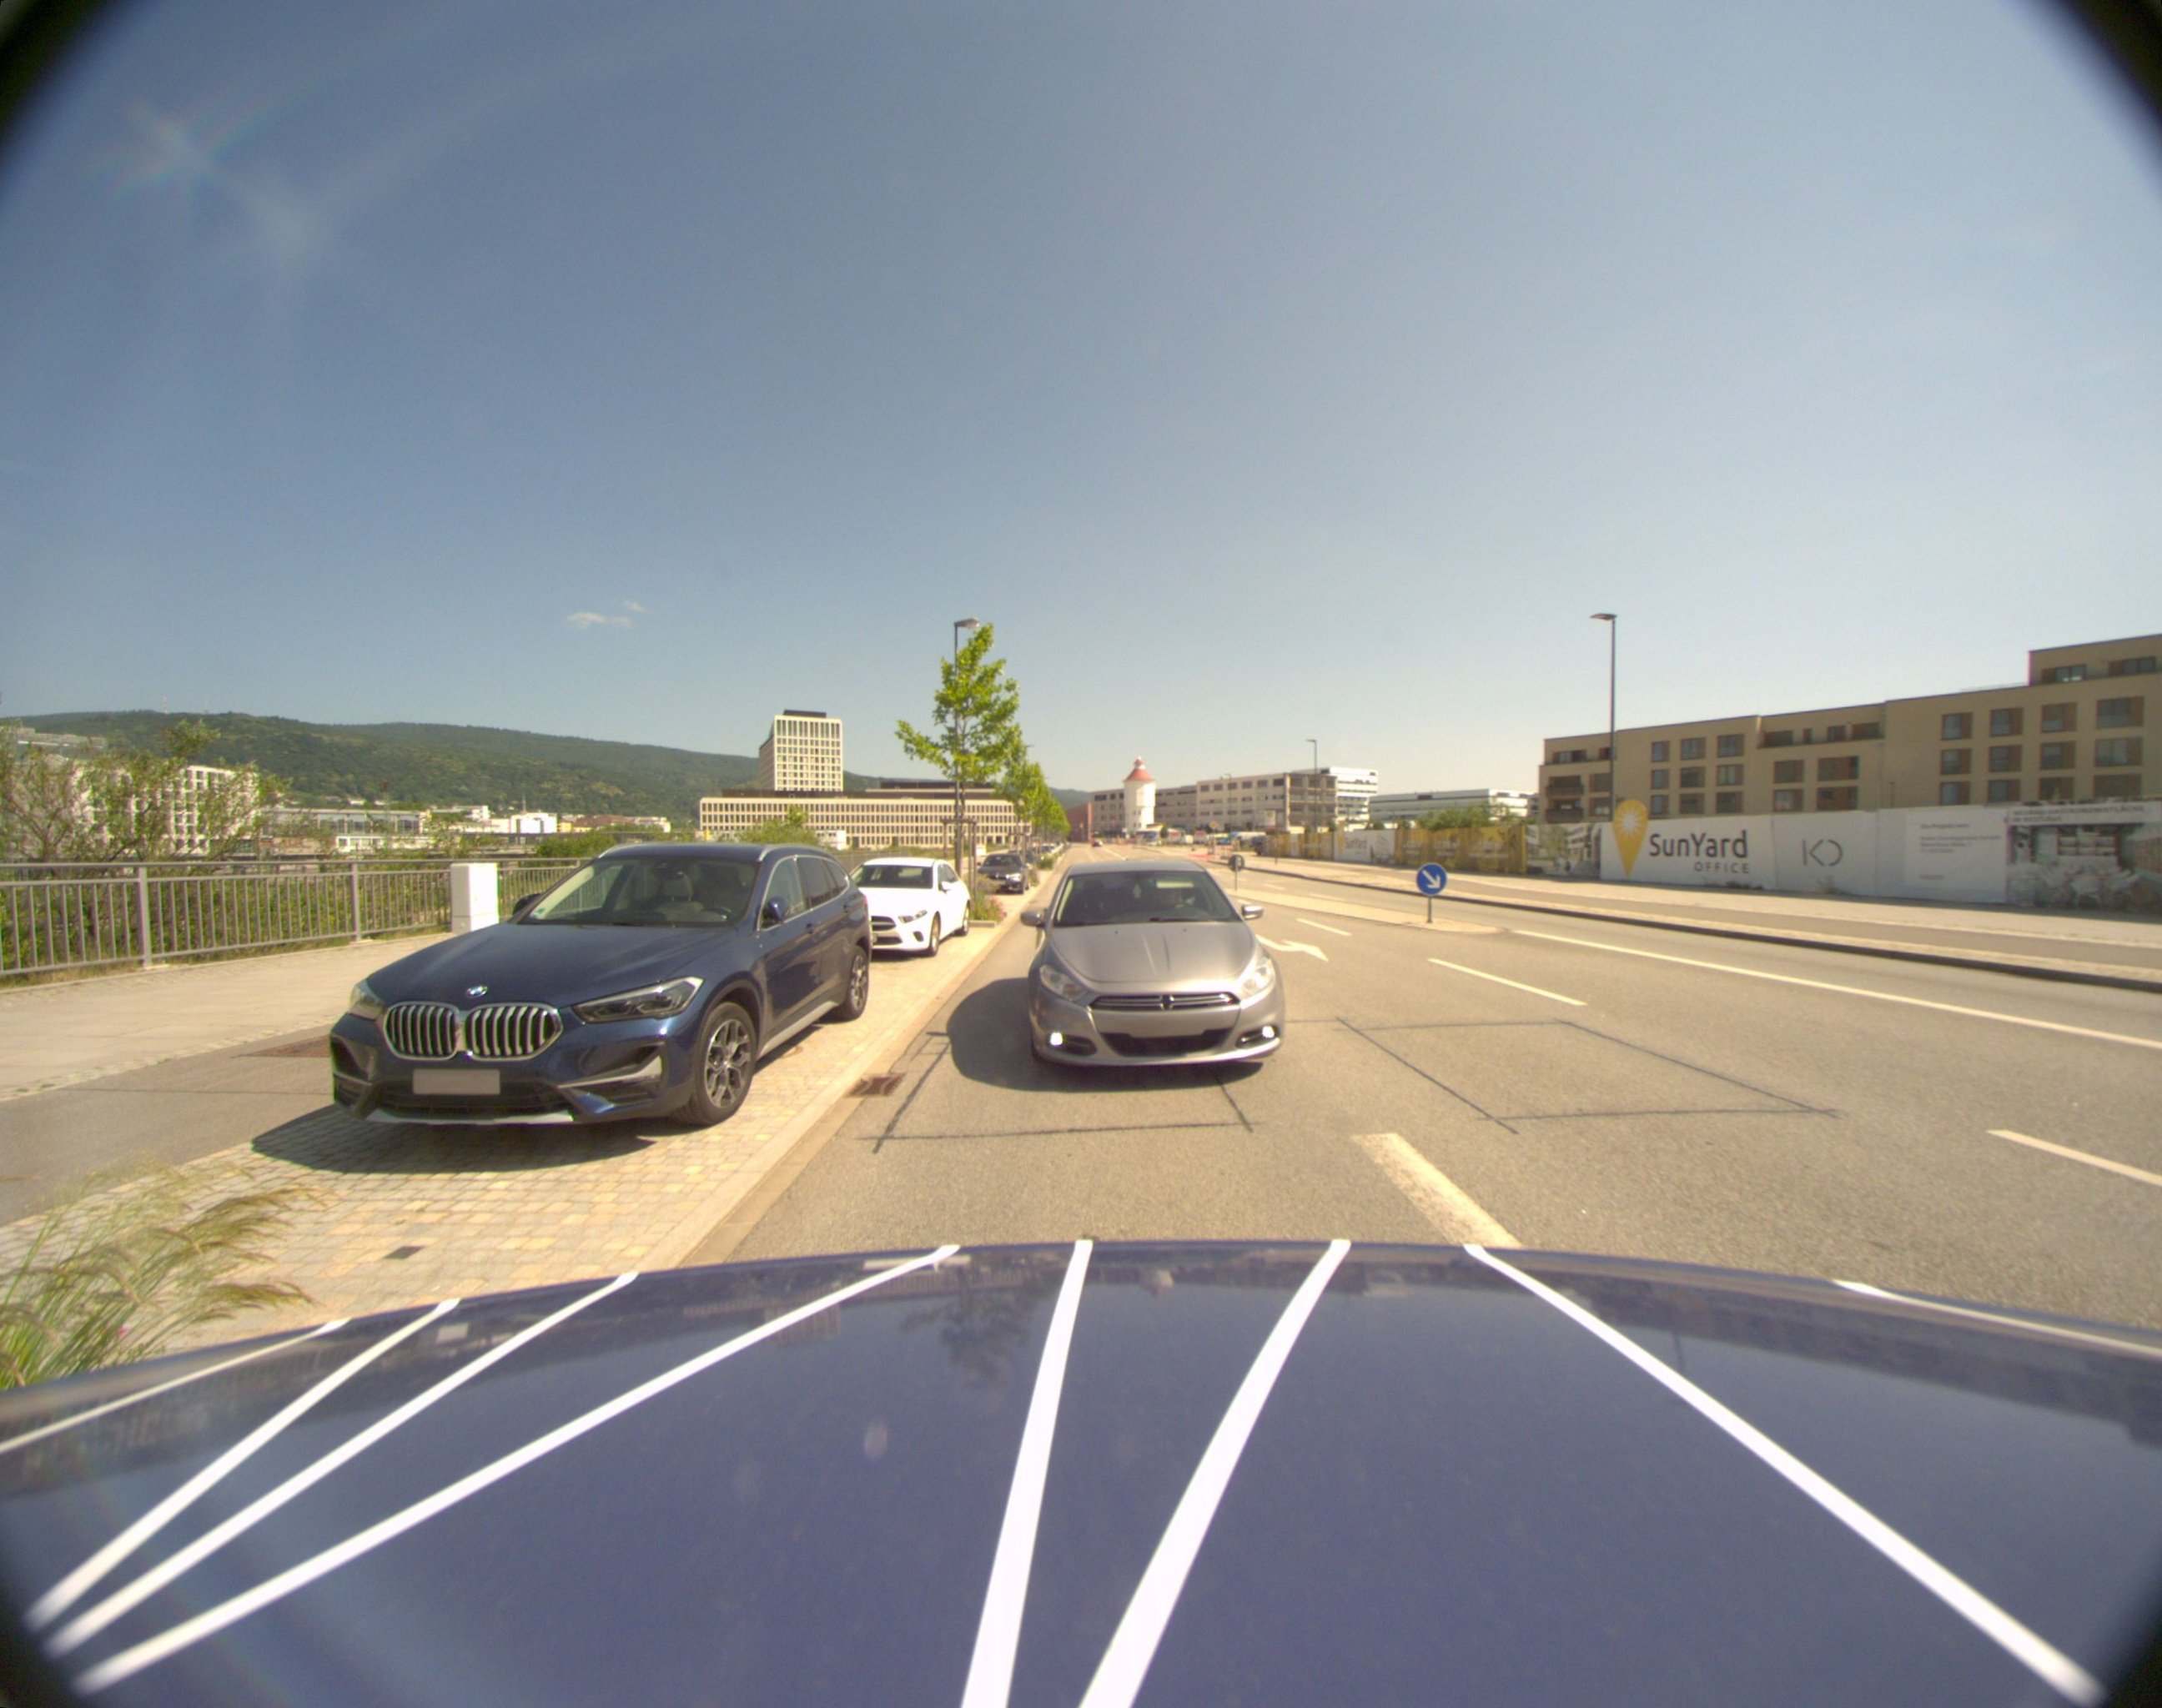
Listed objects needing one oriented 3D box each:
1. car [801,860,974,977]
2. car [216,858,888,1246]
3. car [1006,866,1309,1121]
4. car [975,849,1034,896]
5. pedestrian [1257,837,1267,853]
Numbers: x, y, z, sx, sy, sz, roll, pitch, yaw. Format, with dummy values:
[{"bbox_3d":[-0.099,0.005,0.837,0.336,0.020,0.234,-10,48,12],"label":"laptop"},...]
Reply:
[{"bbox_3d":[-2.907,0.889,12.293,1.664,1.447,3.999,-2,1,1],"label":"car"},{"bbox_3d":[-2.879,0.893,5.486,1.769,1.598,4.238,-2,1,1],"label":"car"},{"bbox_3d":[0.490,0.880,6.667,1.784,1.372,4.135,-2,1,1],"label":"car"},{"bbox_3d":[-2.759,0.638,28.073,1.664,1.529,3.999,-2,1,1],"label":"car"},{"bbox_3d":[18.415,-0.949,77.462,0.705,1.577,0.617,-3,1,-36],"label":"pedestrian"}]
